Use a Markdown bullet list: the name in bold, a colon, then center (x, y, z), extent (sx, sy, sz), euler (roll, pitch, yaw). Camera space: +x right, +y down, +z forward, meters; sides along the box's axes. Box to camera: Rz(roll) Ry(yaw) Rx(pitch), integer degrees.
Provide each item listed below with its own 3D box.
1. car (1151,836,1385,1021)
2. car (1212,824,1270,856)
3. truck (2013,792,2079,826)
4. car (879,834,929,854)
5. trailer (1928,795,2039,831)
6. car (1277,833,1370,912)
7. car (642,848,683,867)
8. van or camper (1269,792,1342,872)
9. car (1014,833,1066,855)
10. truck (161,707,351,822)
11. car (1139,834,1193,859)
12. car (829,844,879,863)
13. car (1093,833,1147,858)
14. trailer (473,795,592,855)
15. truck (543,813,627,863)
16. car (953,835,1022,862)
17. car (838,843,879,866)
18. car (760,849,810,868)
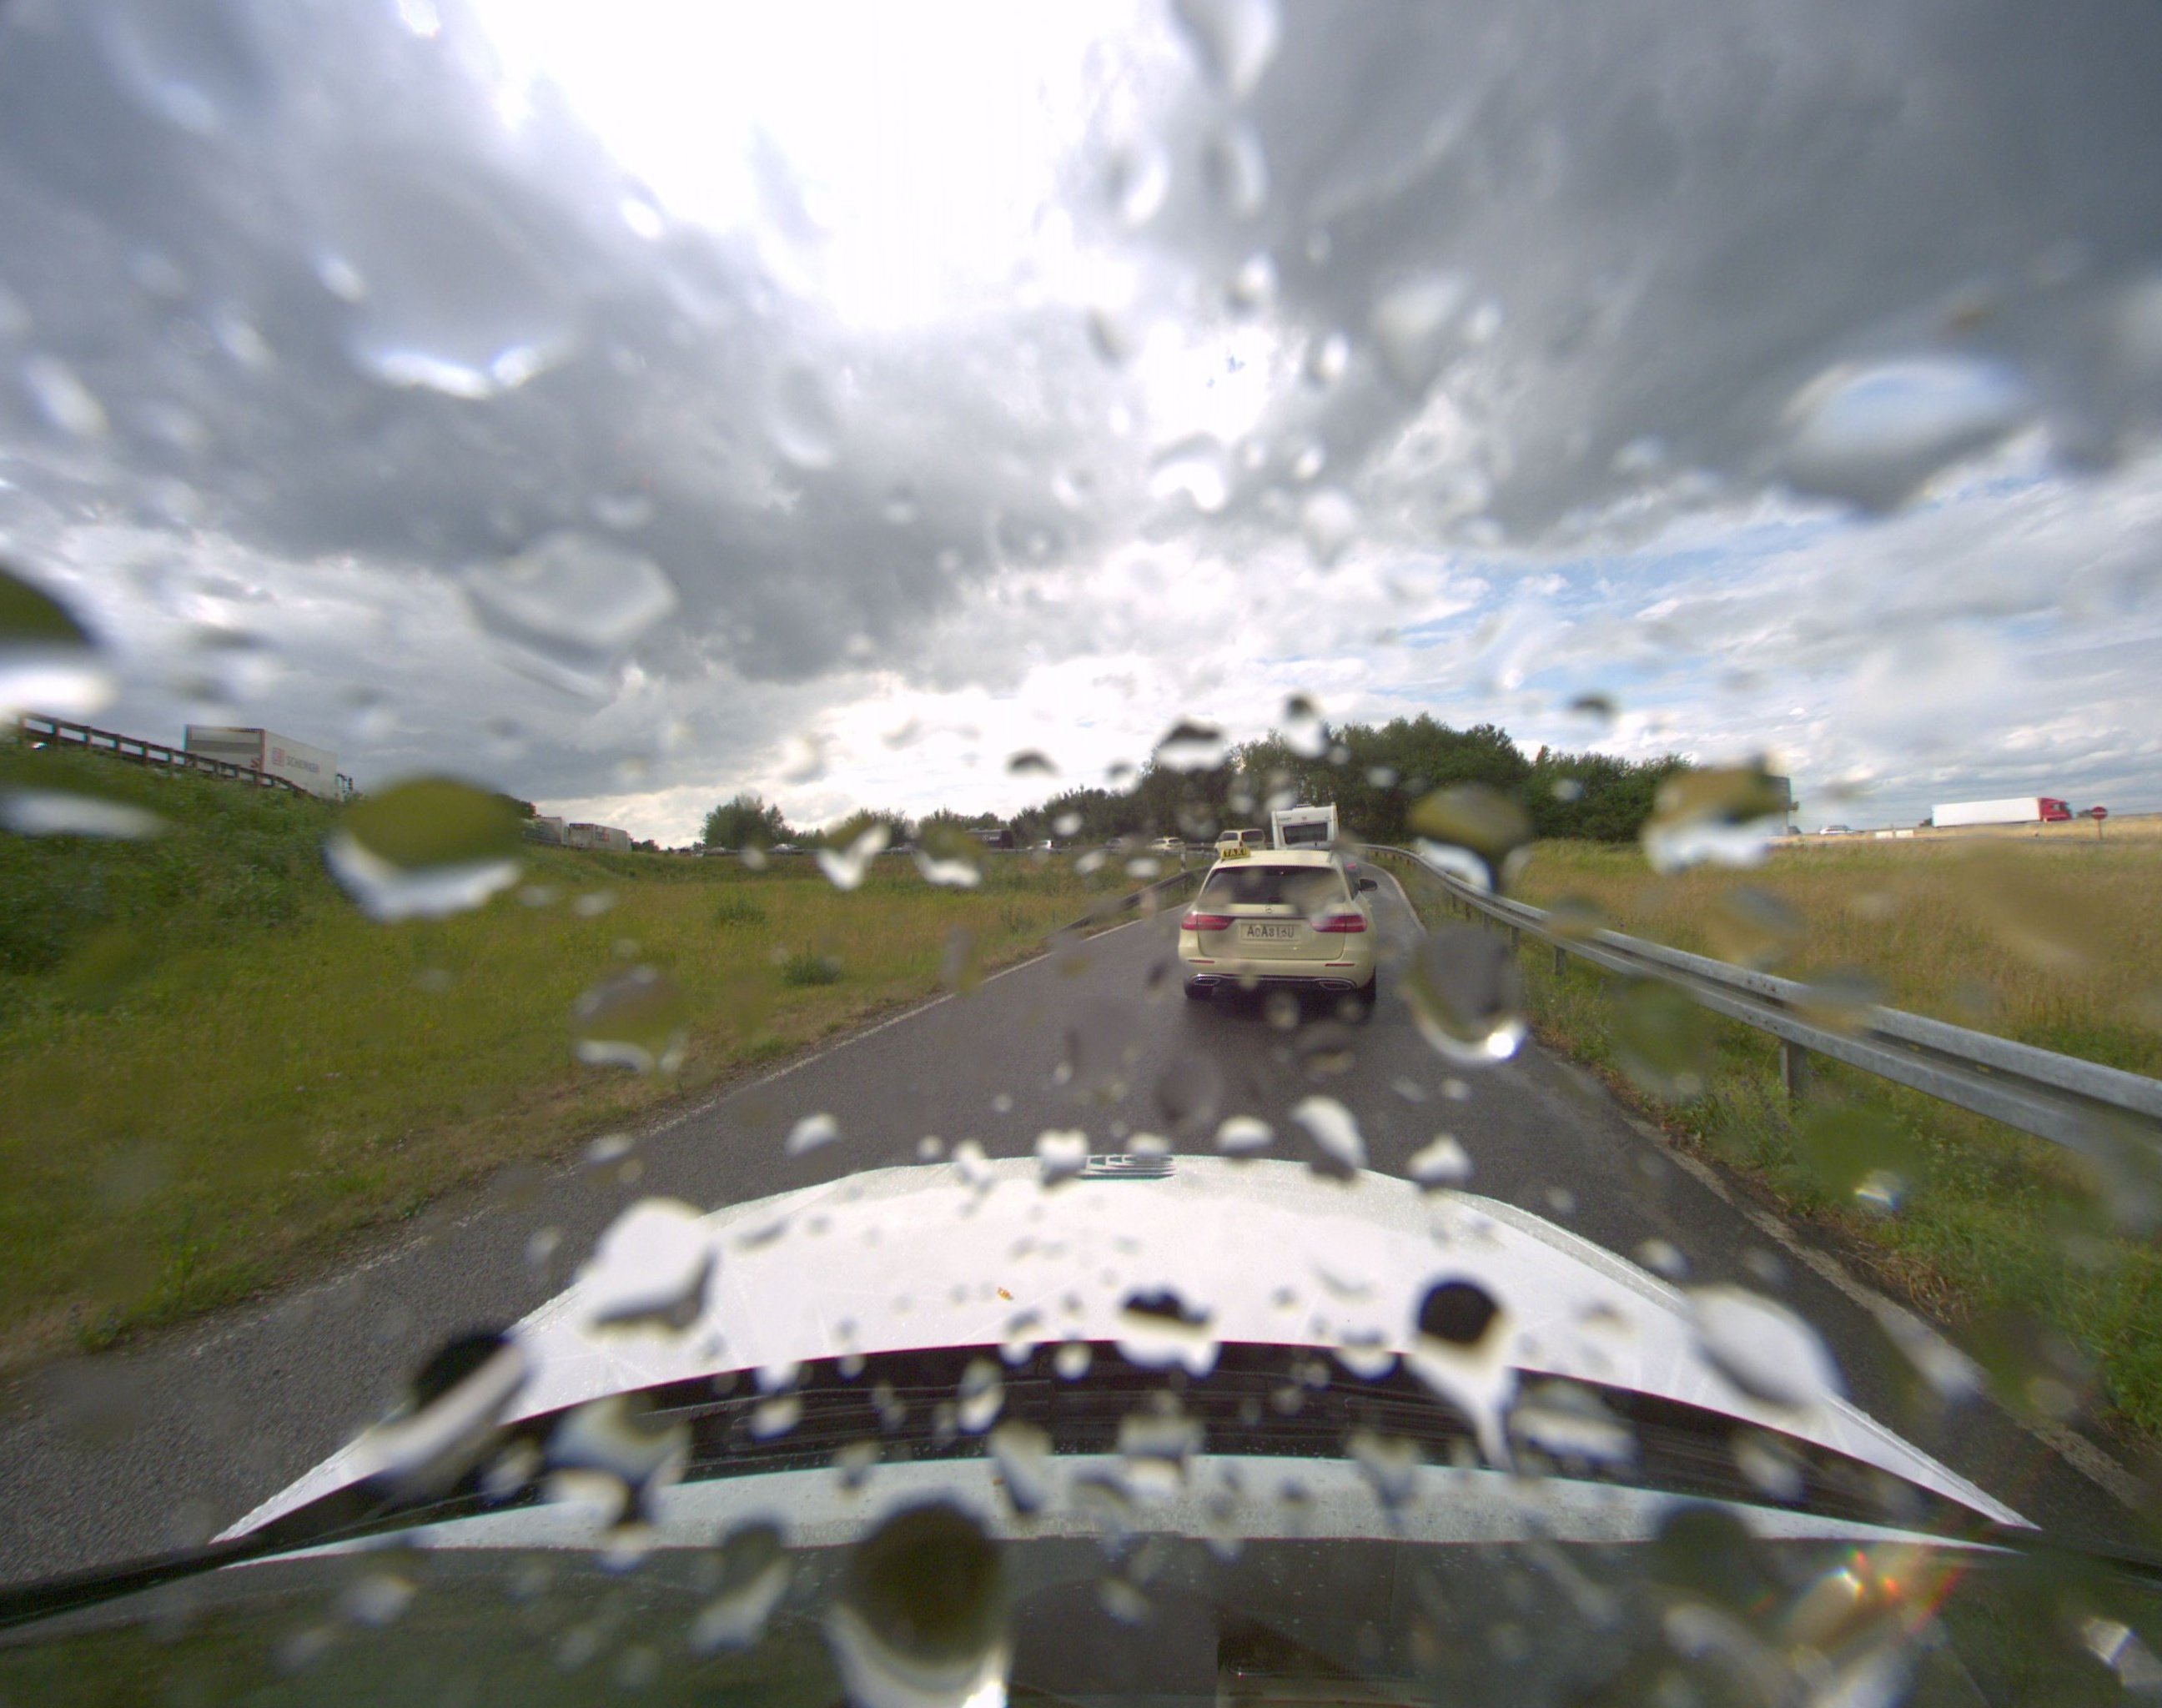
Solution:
- **car**: center (2.280, 0.594, 9.122), extent (1.900, 1.507, 4.618), euler (-2, 0, 18)
- **car**: center (10.518, -0.884, 53.860), extent (1.994, 1.861, 5.038), euler (-3, -1, -11)
- **truck**: center (106.495, -4.926, 89.889), extent (3.214, 3.135, 4.246), euler (0, -4, -35)
- **car**: center (-19.367, -1.118, 89.091), extent (4.995, 1.861, 2.011), euler (-3, -1, 24)
- **trailer**: center (103.766, -4.667, 93.770), extent (3.205, 3.211, 8.112), euler (0, -4, -35)
- **car**: center (5.437, 0.386, 17.943), extent (1.704, 1.525, 4.019), euler (-2, -1, 19)
- **car**: center (-47.657, 0.415, 92.828), extent (4.006, 2.014, 1.811), euler (-1, -3, -25)
- **van or camper**: center (8.703, -0.758, 31.366), extent (2.412, 2.729, 6.027), euler (-1, 0, 17)
- **car**: center (-4.081, -0.970, 80.637), extent (4.992, 1.861, 2.013), euler (-4, -2, 39)
- **truck**: center (-39.270, -3.982, 39.343), extent (3.195, 3.967, 9.161), euler (-1, -3, -24)
- **car**: center (6.681, -0.568, 64.458), extent (2.002, 1.861, 5.018), euler (-3, 0, -23)
- **car**: center (-25.490, -0.063, 91.455), extent (5.004, 1.861, 2.008), euler (-3, -1, 14)
- **car**: center (3.393, -0.717, 72.233), extent (2.009, 1.861, 5.000), euler (-2, -2, -36)
- **trailer**: center (-52.743, -2.481, 79.386), extent (4.426, 3.956, 20.084), euler (-1, -3, -19)
- **truck**: center (-59.009, -1.678, 97.732), extent (4.474, 4.504, 19.247), euler (-1, -3, -19)
- **car**: center (-9.851, -0.557, 85.241), extent (6.893, 2.595, 2.894), euler (-2, 0, 36)
- **car**: center (-24.880, 0.062, 91.129), extent (3.949, 2.013, 2.013), euler (-5, 2, 28)
- **car**: center (-34.278, 0.536, 94.341), extent (5.004, 1.861, 2.008), euler (-3, -1, 14)
